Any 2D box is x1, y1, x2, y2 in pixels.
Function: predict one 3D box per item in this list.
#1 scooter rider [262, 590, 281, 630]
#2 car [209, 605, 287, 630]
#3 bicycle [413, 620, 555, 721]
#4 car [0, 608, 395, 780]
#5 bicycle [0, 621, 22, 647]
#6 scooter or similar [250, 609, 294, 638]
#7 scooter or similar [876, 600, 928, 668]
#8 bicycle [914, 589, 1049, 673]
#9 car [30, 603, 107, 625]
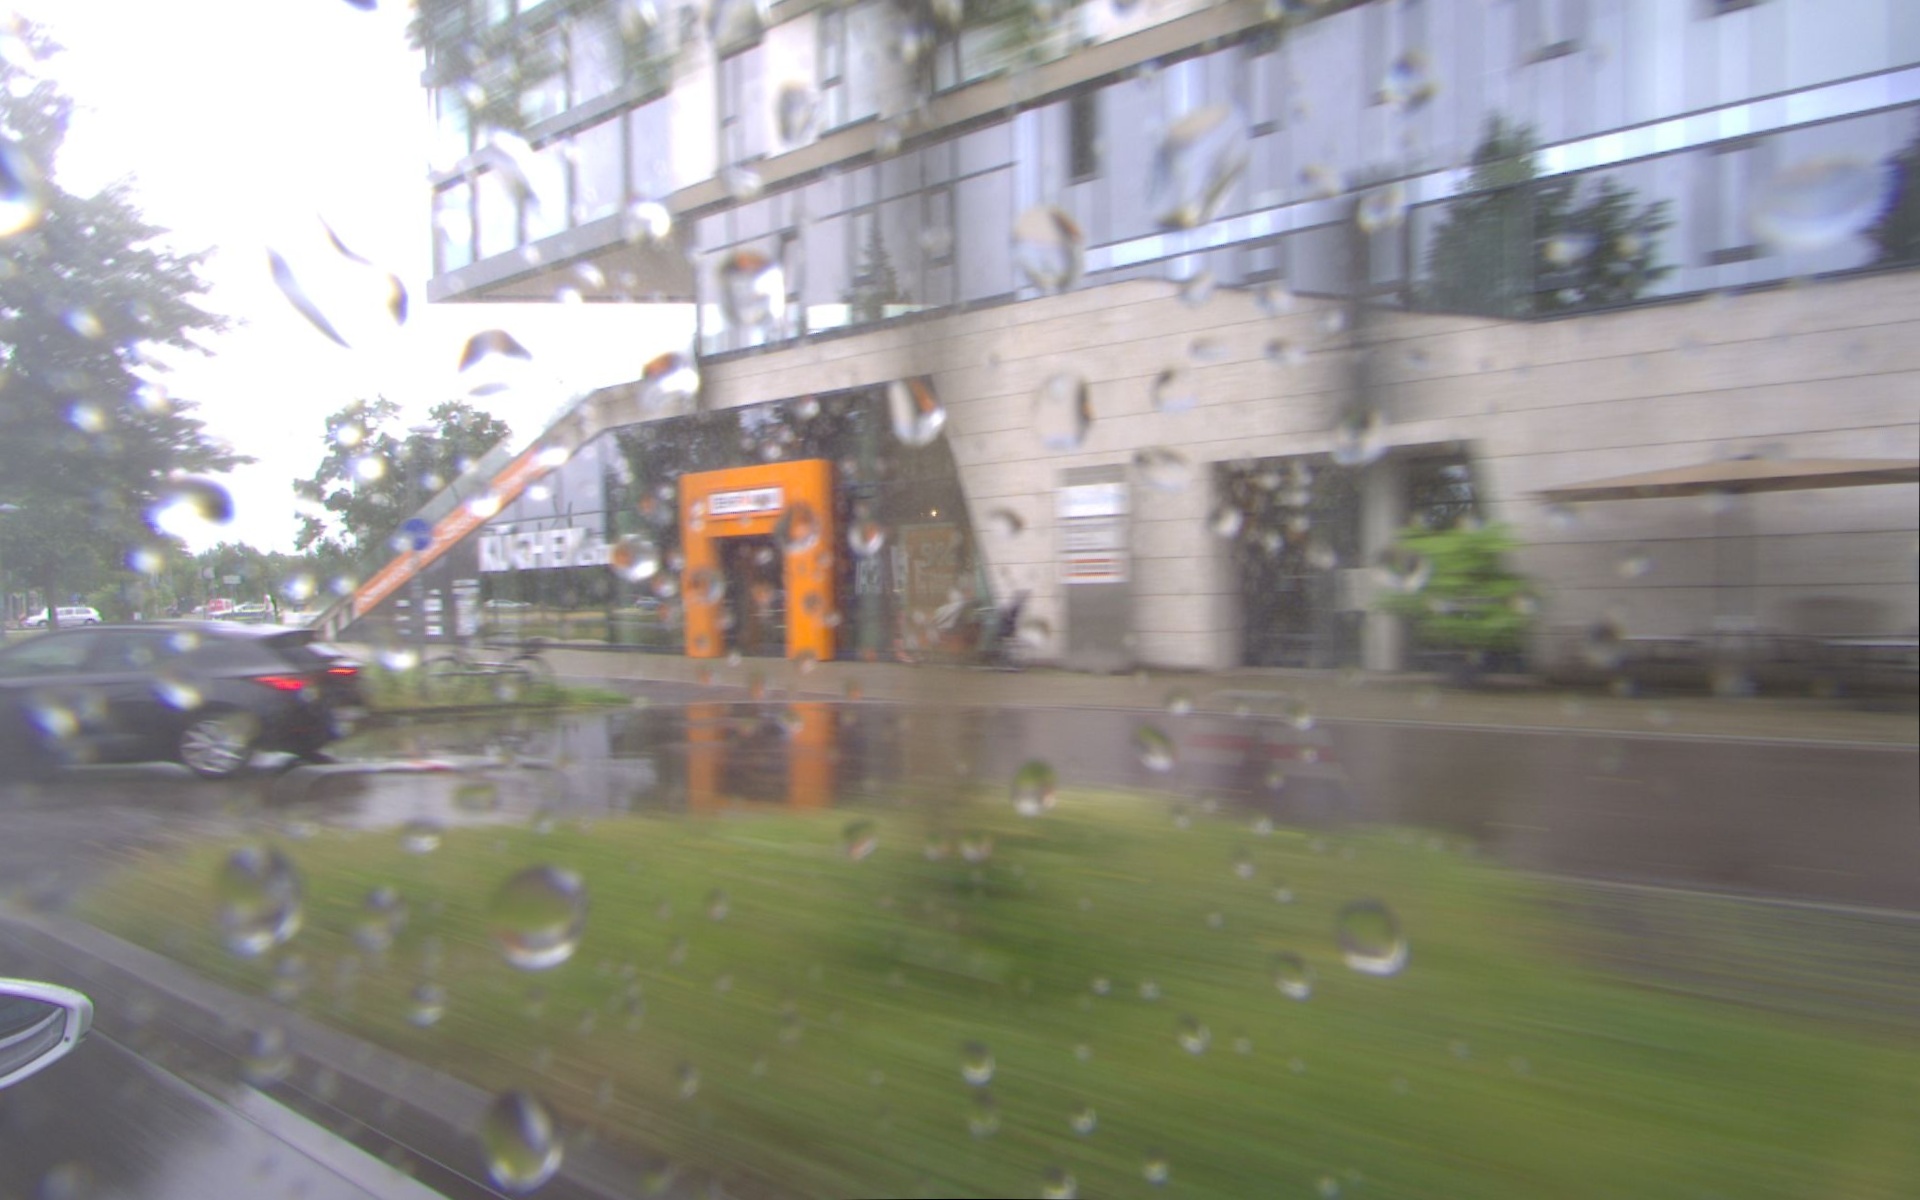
[{"bbox_3d":[-30.505,0.435,44.359,0.427,1.732,0.530,0,2,28],"label":"scooter rider"},{"bbox_3d":[-56.985,1.366,80.231,1.969,1.876,4.754,0,0,29],"label":"car"},{"bbox_3d":[-6.861,0.986,14.478,1.822,1.364,0.529,0,1,-32],"label":"bicycle"},{"bbox_3d":[-8.068,0.821,9.559,4.263,1.439,1.831,0,1,-9],"label":"car"},{"bbox_3d":[-29.967,1.048,30.995,1.973,0.797,0.454,-1,-1,17],"label":"bicycle"},{"bbox_3d":[-30.476,1.042,44.367,0.440,1.275,1.585,-1,-2,28],"label":"scooter or similar"},{"bbox_3d":[-1.106,0.630,19.016,0.338,1.244,1.231,1,0,-37],"label":"scooter or similar"},{"bbox_3d":[0.354,0.543,17.879,2.391,1.420,0.731,0,-1,35],"label":"bicycle"},{"bbox_3d":[-63.279,0.967,71.135,1.606,1.473,3.952,0,1,43],"label":"car"}]
